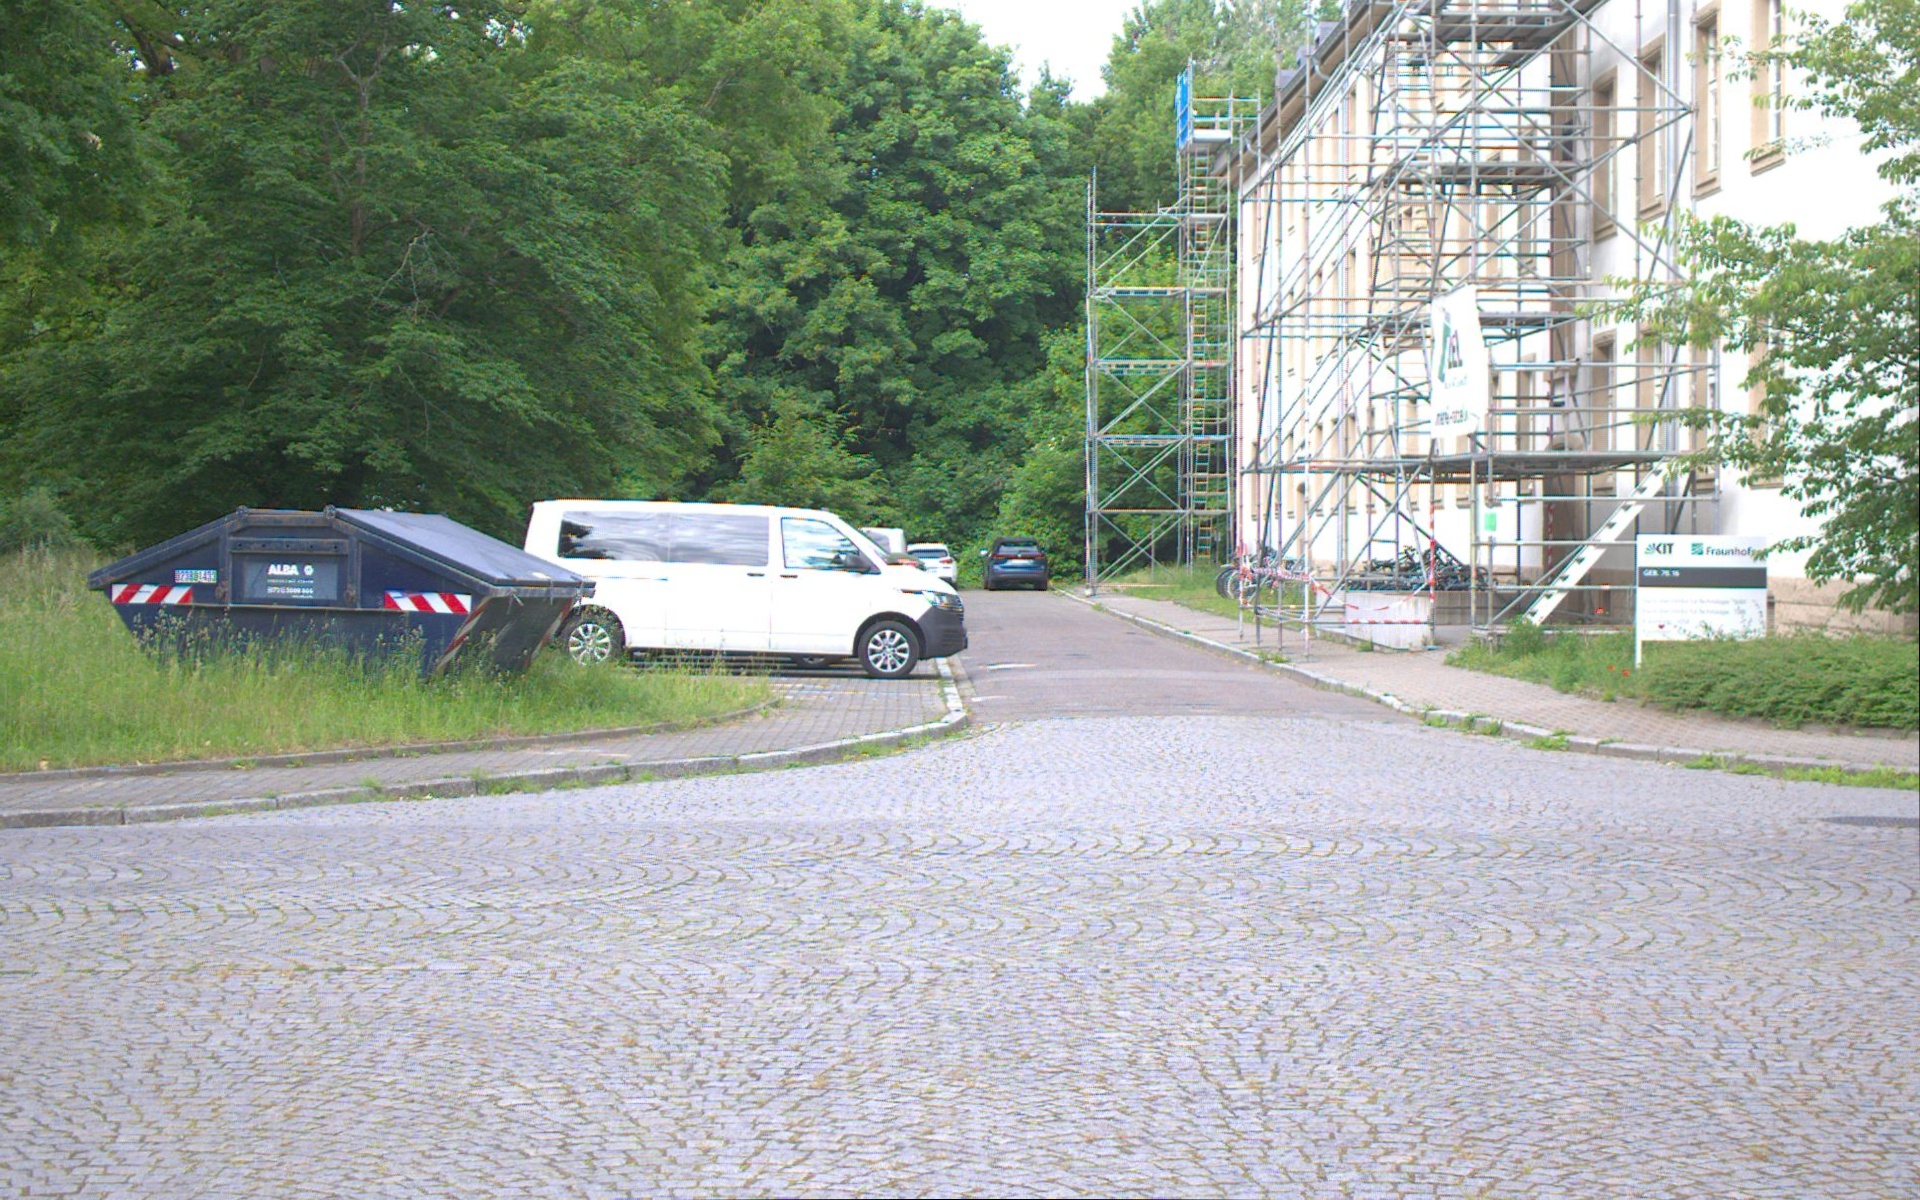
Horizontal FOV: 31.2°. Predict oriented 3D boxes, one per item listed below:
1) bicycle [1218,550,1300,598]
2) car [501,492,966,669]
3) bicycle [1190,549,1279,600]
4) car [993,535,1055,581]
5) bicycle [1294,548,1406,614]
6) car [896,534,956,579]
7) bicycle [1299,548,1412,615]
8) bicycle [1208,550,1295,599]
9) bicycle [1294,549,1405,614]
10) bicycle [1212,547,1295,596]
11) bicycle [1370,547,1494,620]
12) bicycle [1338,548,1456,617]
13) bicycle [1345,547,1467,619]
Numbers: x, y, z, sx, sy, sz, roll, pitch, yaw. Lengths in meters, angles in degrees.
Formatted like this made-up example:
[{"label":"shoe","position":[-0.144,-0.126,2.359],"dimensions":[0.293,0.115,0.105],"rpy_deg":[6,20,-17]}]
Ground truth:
[{"label":"bicycle","position":[6.852,-0.593,78.775],"dimensions":[1.856,1.091,0.511],"rpy_deg":[0,1,6]},{"label":"car","position":[-2.583,-0.235,39.939],"dimensions":[5.259,1.990,1.969],"rpy_deg":[0,1,-1]},{"label":"bicycle","position":[5.976,-0.567,74.731],"dimensions":[1.858,1.091,0.510],"rpy_deg":[0,1,21]},{"label":"car","position":[1.908,-1.269,103.300],"dimensions":[1.578,1.366,3.954],"rpy_deg":[0,1,-3]},{"label":"bicycle","position":[6.535,-0.317,57.673],"dimensions":[1.856,1.091,0.511],"rpy_deg":[0,1,6]},{"label":"car","position":[-1.034,-1.318,102.859],"dimensions":[1.578,1.334,3.954],"rpy_deg":[0,1,-3]},{"label":"bicycle","position":[6.574,-0.311,57.157],"dimensions":[1.856,1.091,0.511],"rpy_deg":[0,1,6]},{"label":"bicycle","position":[6.490,-0.577,76.603],"dimensions":[1.858,1.091,0.510],"rpy_deg":[0,1,21]},{"label":"bicycle","position":[6.588,-0.321,58.123],"dimensions":[1.856,1.091,0.511],"rpy_deg":[0,1,6]},{"label":"bicycle","position":[6.668,-0.646,77.980],"dimensions":[1.856,1.091,0.511],"rpy_deg":[0,1,6]},{"label":"bicycle","position":[7.217,-0.256,52.600],"dimensions":[1.856,1.091,0.511],"rpy_deg":[0,1,6]},{"label":"bicycle","position":[6.949,-0.281,54.738],"dimensions":[1.856,1.091,0.511],"rpy_deg":[0,1,6]},{"label":"bicycle","position":[6.888,-0.266,53.143],"dimensions":[1.856,1.091,0.511],"rpy_deg":[0,1,6]}]
